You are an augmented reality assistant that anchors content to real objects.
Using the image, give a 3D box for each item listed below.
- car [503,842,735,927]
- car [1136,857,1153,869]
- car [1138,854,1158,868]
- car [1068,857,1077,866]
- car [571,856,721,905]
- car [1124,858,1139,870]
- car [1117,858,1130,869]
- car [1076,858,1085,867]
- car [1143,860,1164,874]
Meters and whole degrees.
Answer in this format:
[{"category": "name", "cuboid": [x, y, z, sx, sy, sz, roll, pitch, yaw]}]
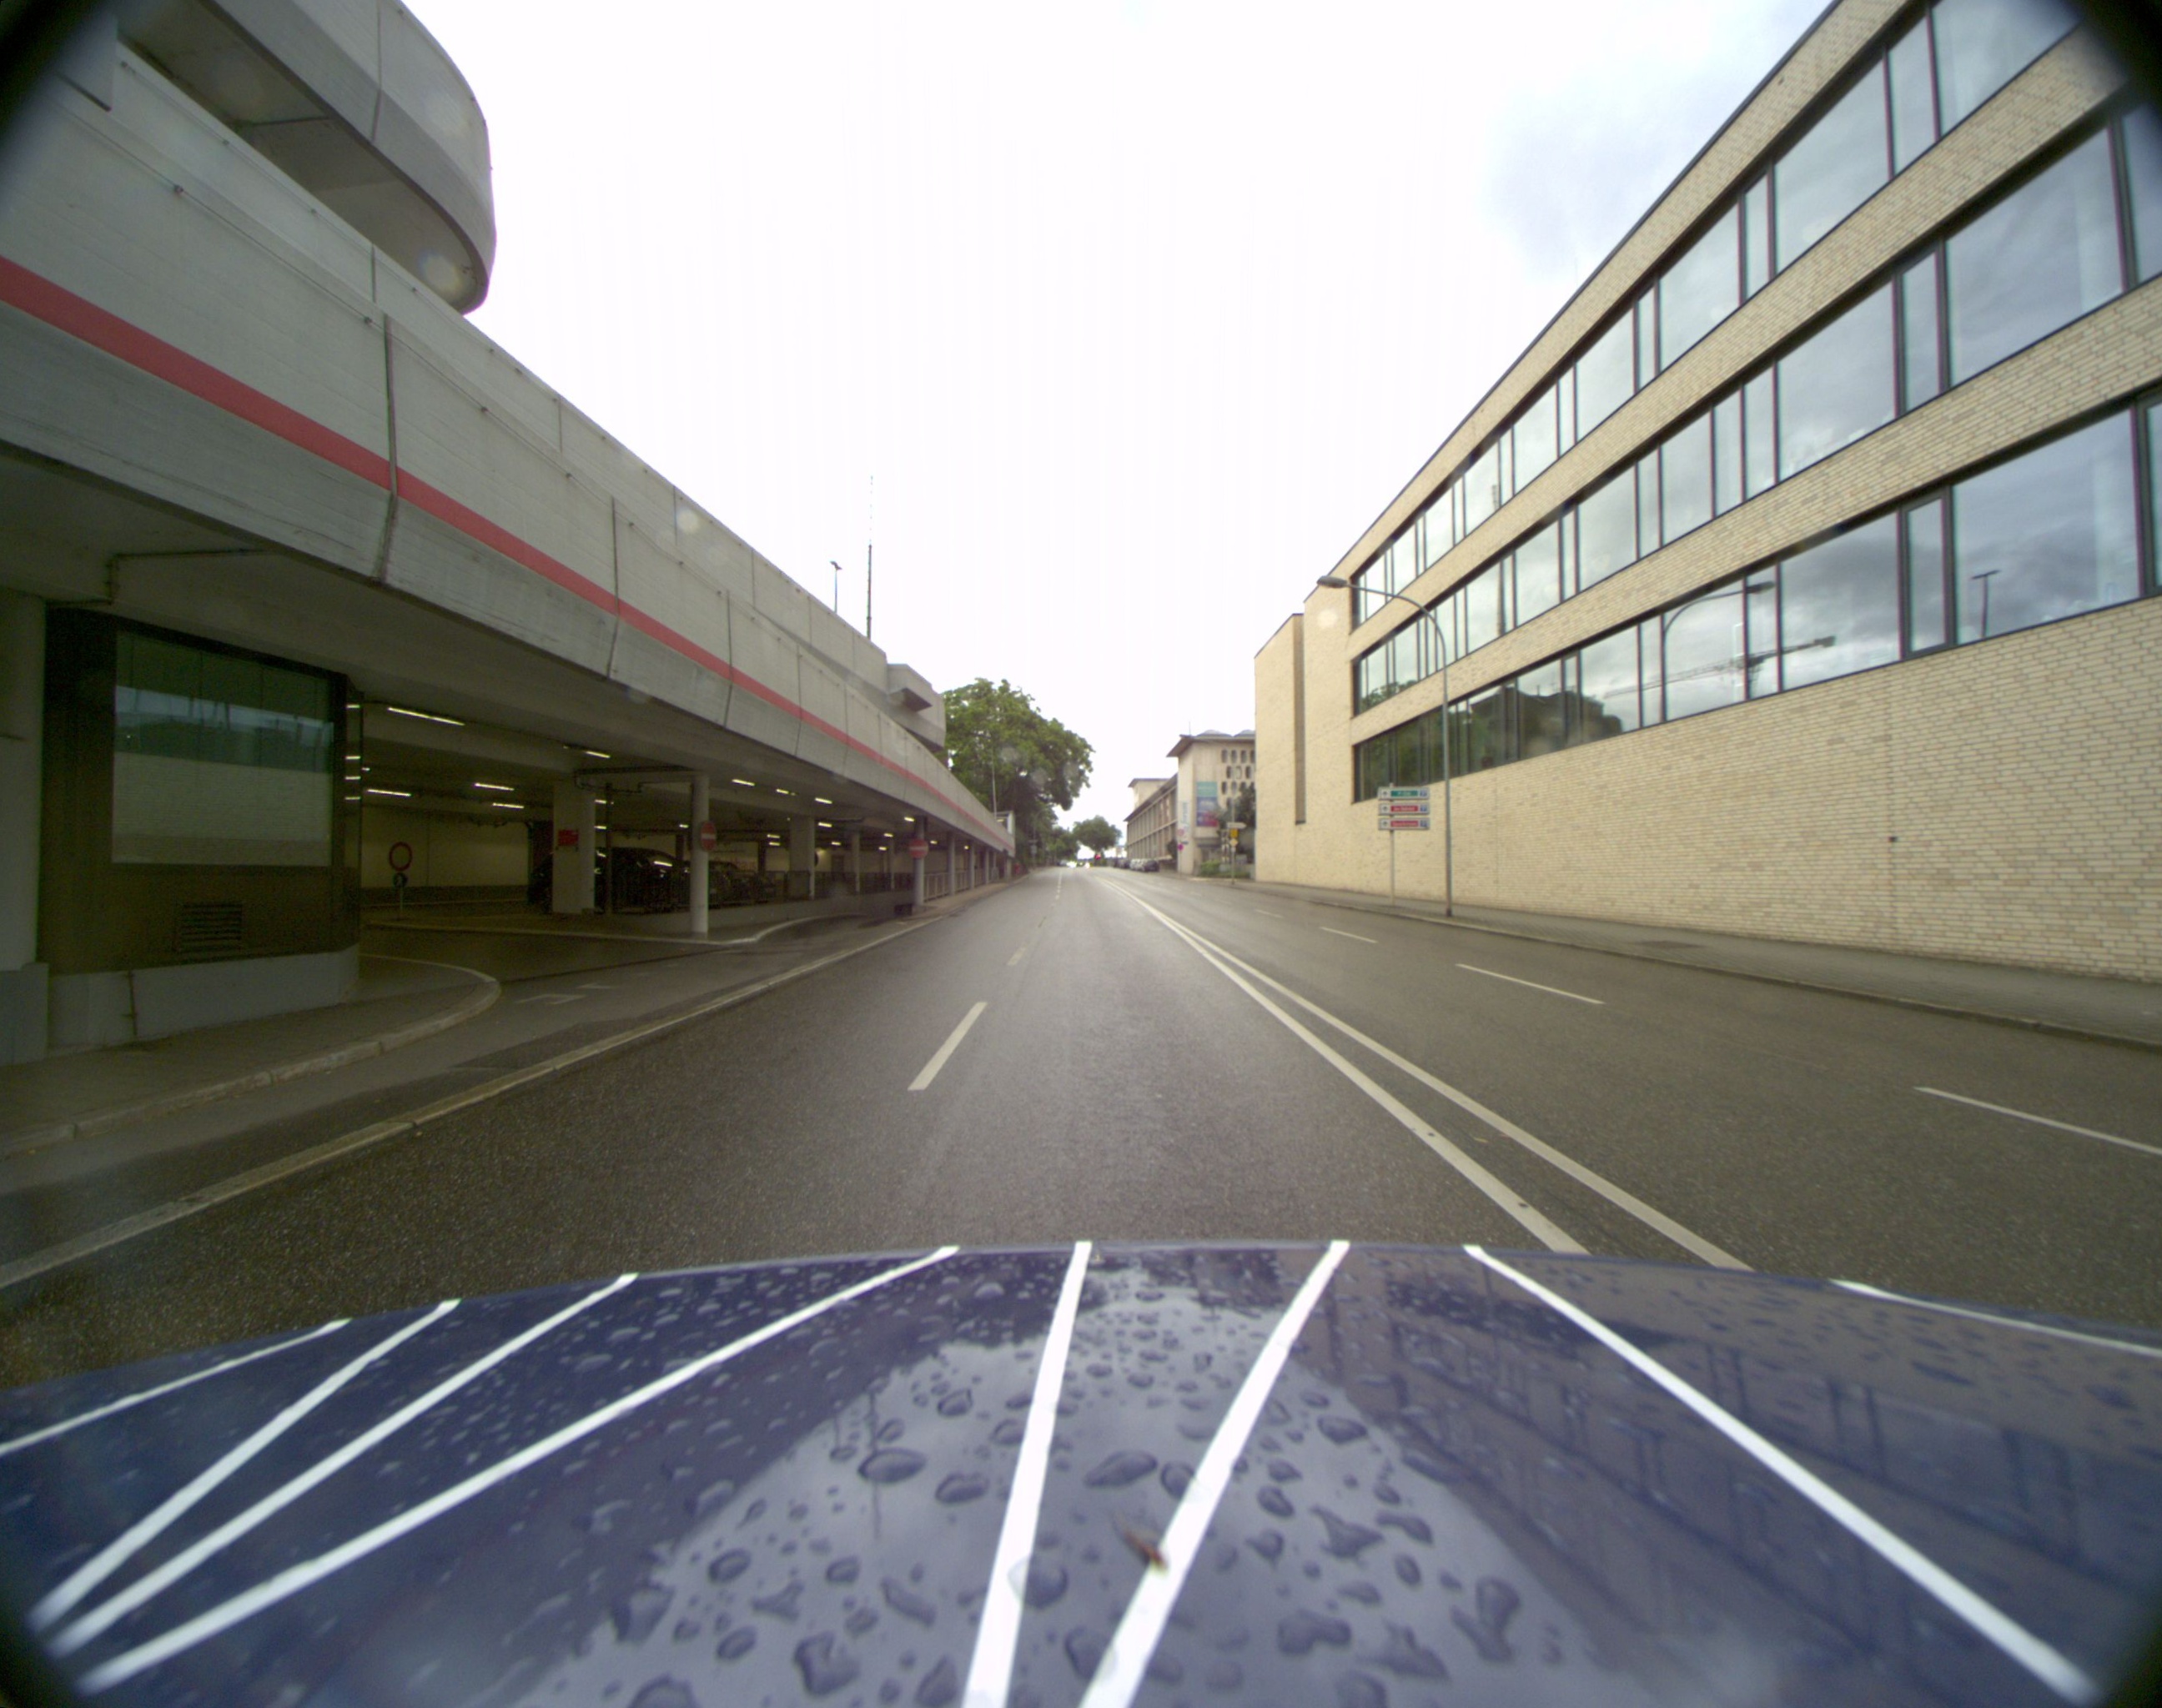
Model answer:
[{"category": "car", "cuboid": [-11.268, 0.711, 18.687, 4.585, 1.631, 1.822, -5, 2, 7]}, {"category": "car", "cuboid": [8.461, 1.218, 101.825, 1.998, 1.502, 4.002, -2, -2, 0]}, {"category": "car", "cuboid": [8.492, 0.868, 96.502, 1.999, 1.632, 3.999, -2, 1, -1]}, {"category": "car", "cuboid": [-2.210, 1.836, 192.215, 1.998, 2.002, 3.999, -2, 1, 1]}, {"category": "car", "cuboid": [-13.801, 0.832, 24.242, 3.731, 1.496, 1.808, 0, -1, 3]}, {"category": "car", "cuboid": [8.078, 1.546, 121.648, 1.999, 1.702, 3.999, -3, 1, -1]}, {"category": "car", "cuboid": [7.903, 1.777, 142.726, 1.999, 1.637, 3.998, -3, 2, -2]}, {"category": "car", "cuboid": [-0.163, 1.979, 182.977, 1.806, 2.002, 3.997, -2, 1, -6]}, {"category": "car", "cuboid": [8.659, 1.555, 90.996, 1.999, 1.520, 3.999, -2, 1, -2]}]
